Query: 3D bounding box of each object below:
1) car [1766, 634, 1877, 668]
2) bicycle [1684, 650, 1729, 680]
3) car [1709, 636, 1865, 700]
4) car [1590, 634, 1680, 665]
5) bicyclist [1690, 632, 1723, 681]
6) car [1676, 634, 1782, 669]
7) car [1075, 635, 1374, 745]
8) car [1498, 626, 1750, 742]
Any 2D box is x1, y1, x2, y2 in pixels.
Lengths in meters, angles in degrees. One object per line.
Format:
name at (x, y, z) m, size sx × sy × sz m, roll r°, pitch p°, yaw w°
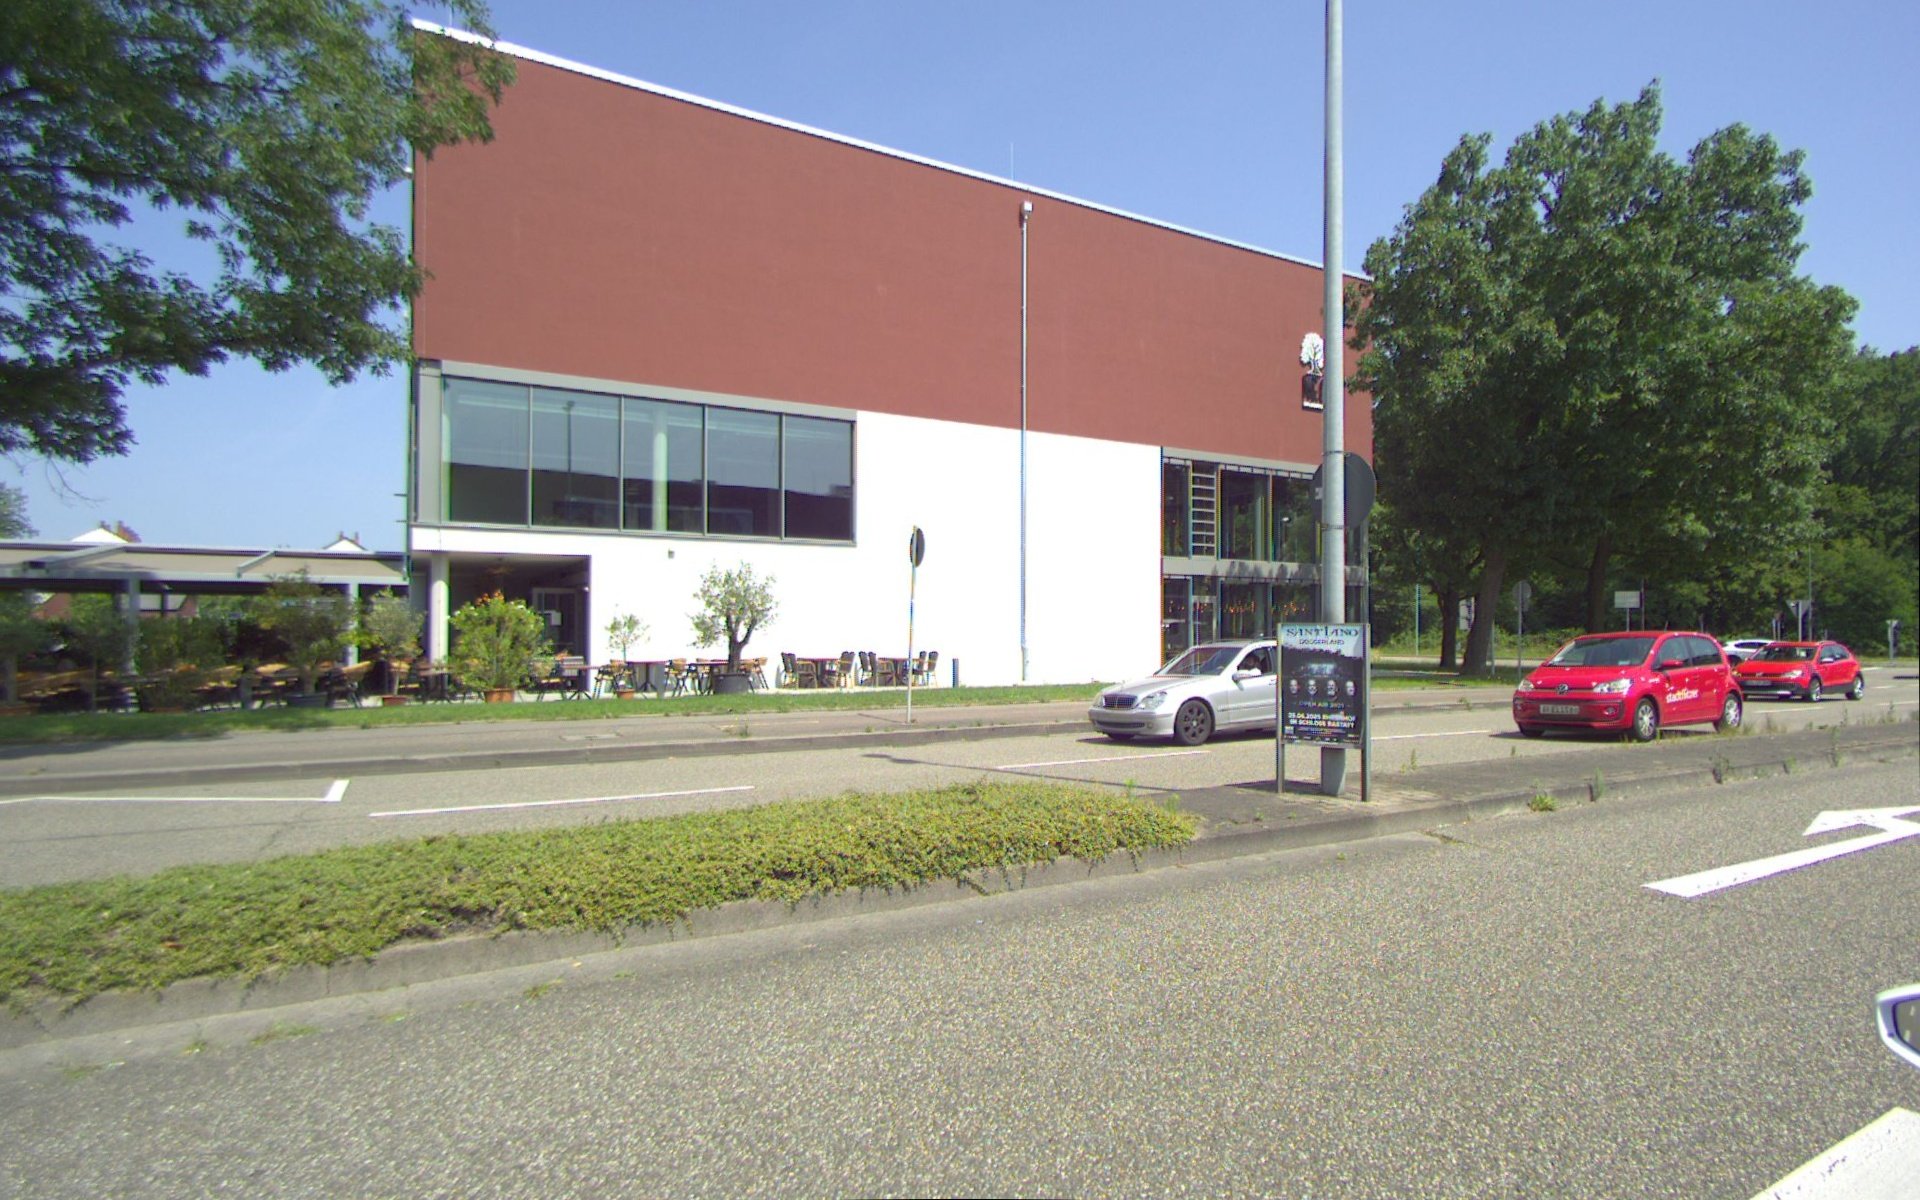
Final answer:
car at (48.002, 2.859, 56.054) m, size 1.793 × 1.703 × 4.342 m, roll 2°, pitch -6°, yaw -36°
bicycle at (27.473, 2.370, 36.959) m, size 1.862 × 1.065 × 0.652 m, roll 1°, pitch -1°, yaw -30°
car at (20.642, 1.683, 25.054) m, size 3.844 × 1.471 × 1.698 m, roll 1°, pitch -4°, yaw -30°
car at (42.446, 3.061, 63.219) m, size 1.796 × 1.704 × 4.334 m, roll 2°, pitch 0°, yaw -39°
bicyclist at (27.488, 2.066, 36.979) m, size 0.916 × 1.793 × 0.646 m, roll 1°, pitch -1°, yaw -29°
car at (42.799, 2.837, 55.975) m, size 1.793 × 1.704 × 4.339 m, roll 2°, pitch 0°, yaw -36°
car at (3.962, 1.264, 14.873) m, size 4.309 × 1.422 × 1.769 m, roll 1°, pitch -4°, yaw -31°
car at (9.454, 1.133, 14.259) m, size 3.568 × 1.460 × 1.573 m, roll 1°, pitch -4°, yaw -31°
